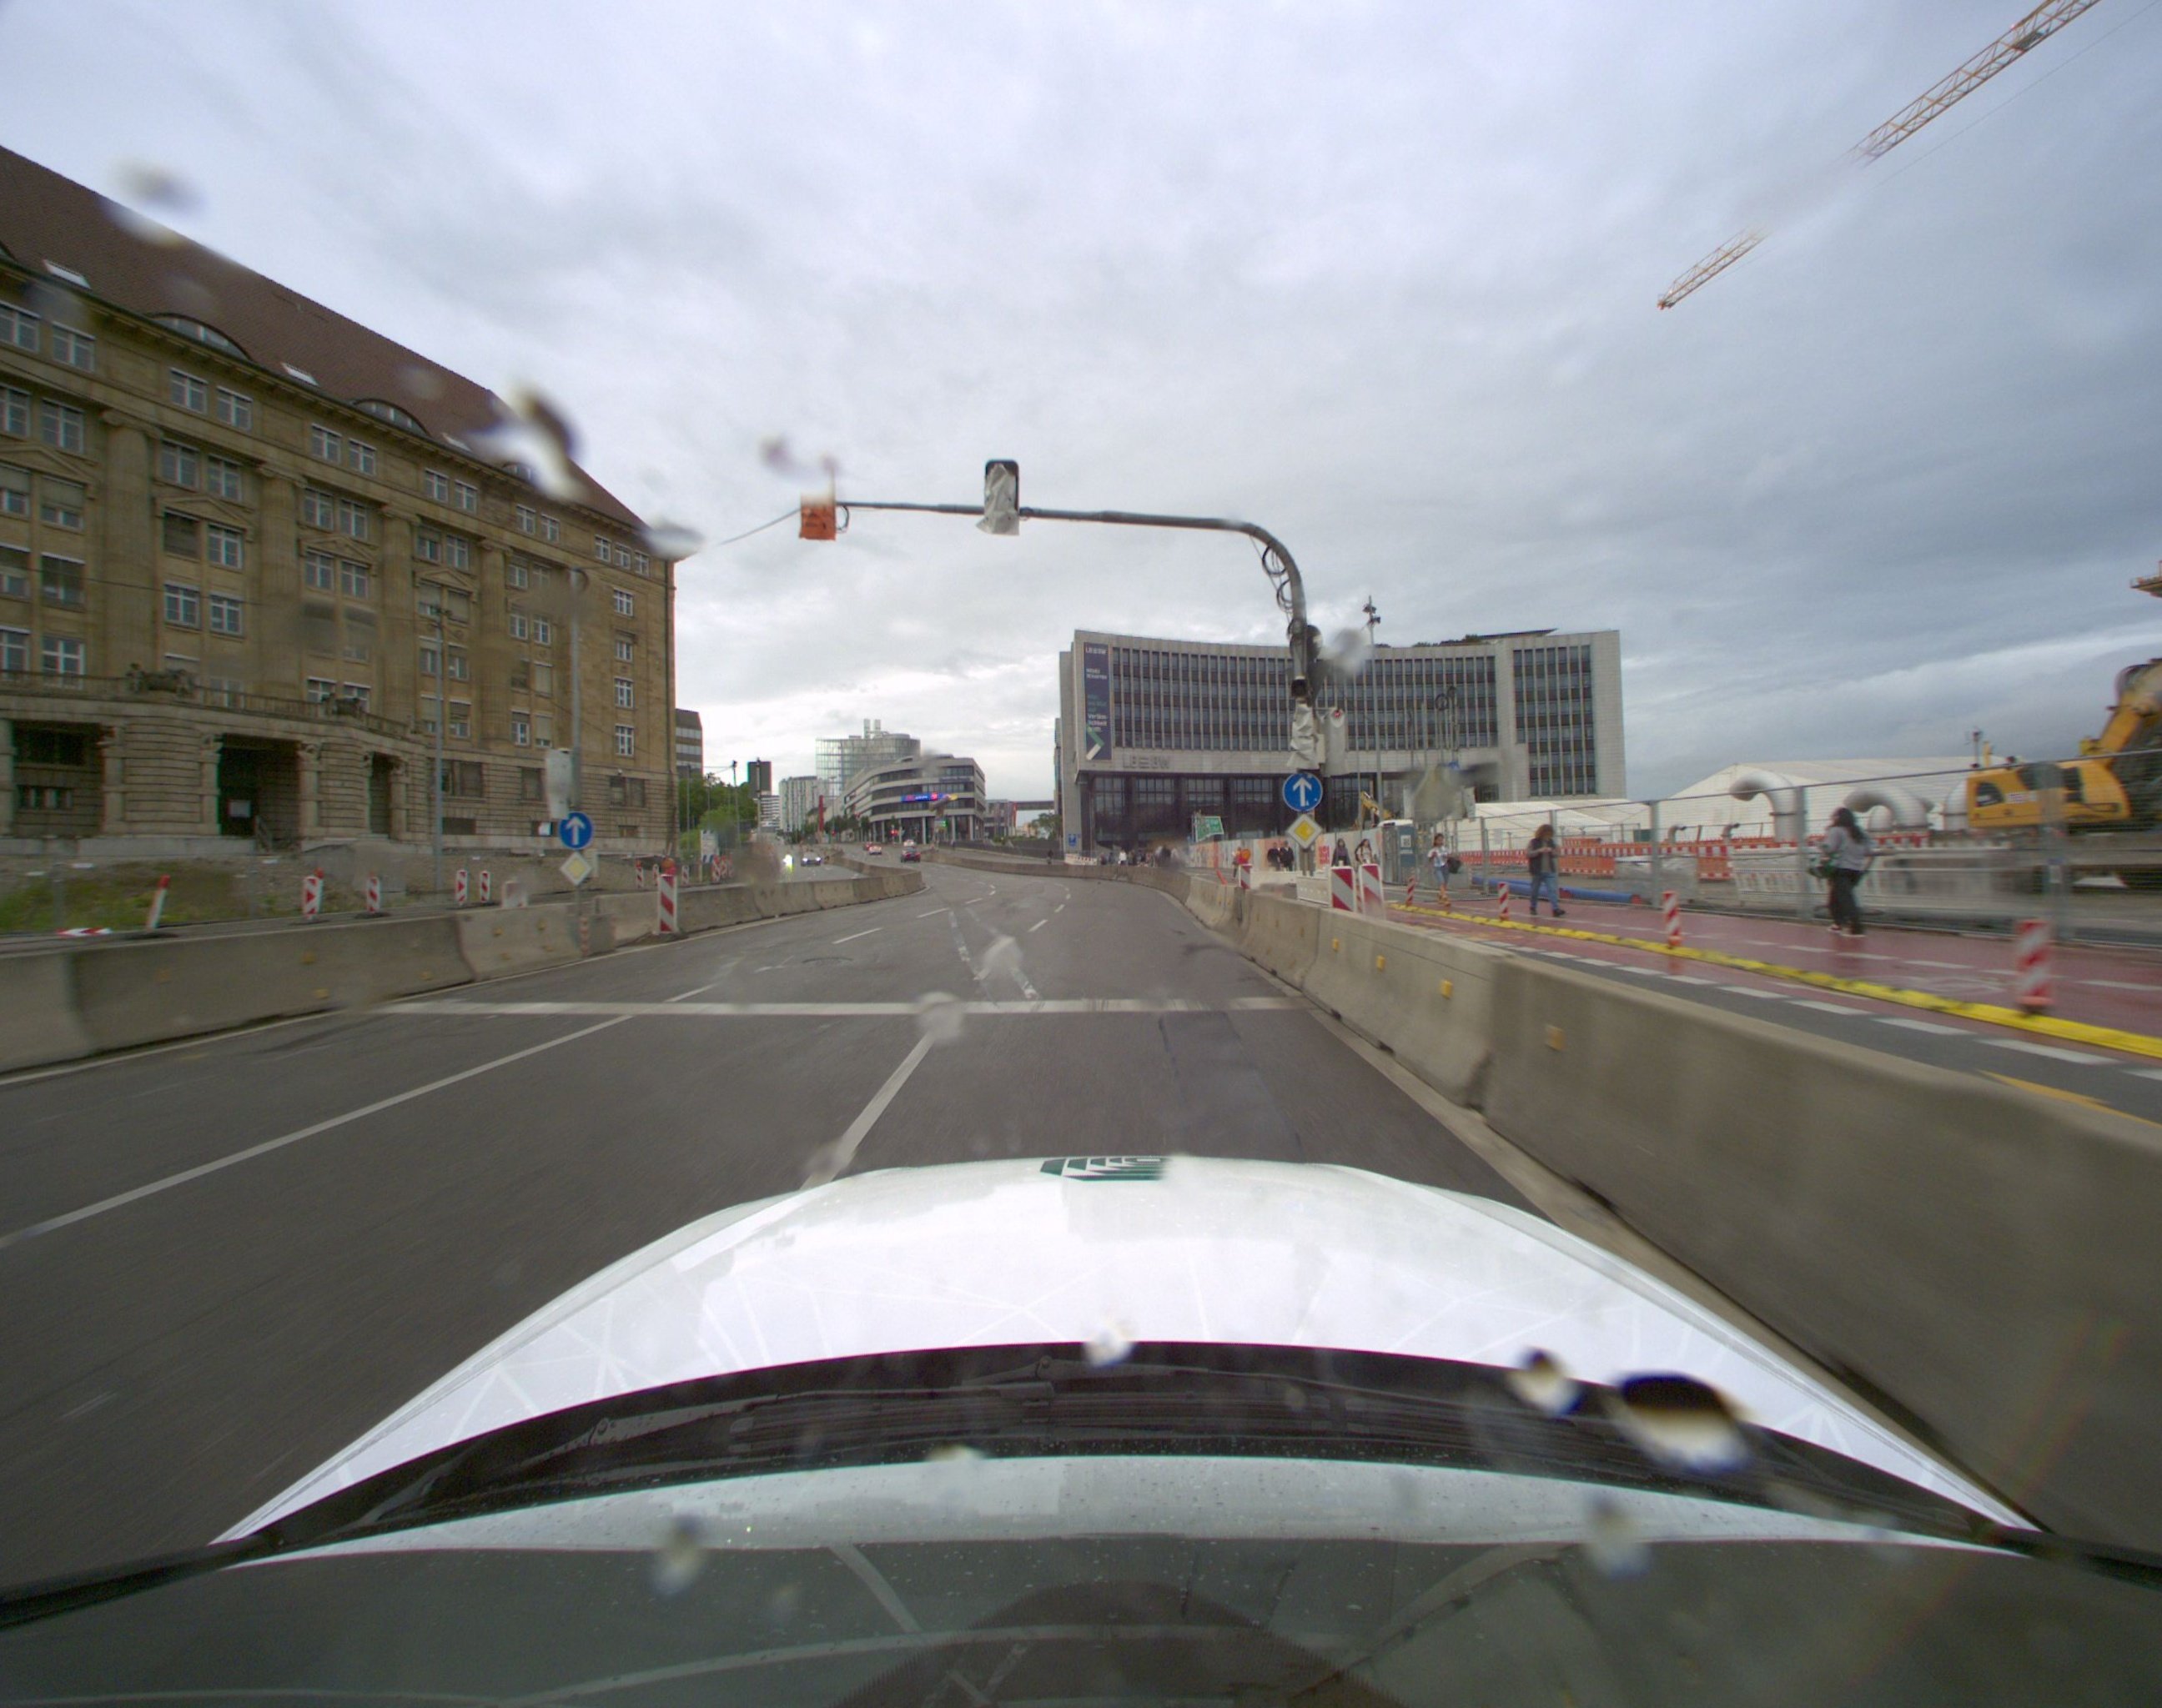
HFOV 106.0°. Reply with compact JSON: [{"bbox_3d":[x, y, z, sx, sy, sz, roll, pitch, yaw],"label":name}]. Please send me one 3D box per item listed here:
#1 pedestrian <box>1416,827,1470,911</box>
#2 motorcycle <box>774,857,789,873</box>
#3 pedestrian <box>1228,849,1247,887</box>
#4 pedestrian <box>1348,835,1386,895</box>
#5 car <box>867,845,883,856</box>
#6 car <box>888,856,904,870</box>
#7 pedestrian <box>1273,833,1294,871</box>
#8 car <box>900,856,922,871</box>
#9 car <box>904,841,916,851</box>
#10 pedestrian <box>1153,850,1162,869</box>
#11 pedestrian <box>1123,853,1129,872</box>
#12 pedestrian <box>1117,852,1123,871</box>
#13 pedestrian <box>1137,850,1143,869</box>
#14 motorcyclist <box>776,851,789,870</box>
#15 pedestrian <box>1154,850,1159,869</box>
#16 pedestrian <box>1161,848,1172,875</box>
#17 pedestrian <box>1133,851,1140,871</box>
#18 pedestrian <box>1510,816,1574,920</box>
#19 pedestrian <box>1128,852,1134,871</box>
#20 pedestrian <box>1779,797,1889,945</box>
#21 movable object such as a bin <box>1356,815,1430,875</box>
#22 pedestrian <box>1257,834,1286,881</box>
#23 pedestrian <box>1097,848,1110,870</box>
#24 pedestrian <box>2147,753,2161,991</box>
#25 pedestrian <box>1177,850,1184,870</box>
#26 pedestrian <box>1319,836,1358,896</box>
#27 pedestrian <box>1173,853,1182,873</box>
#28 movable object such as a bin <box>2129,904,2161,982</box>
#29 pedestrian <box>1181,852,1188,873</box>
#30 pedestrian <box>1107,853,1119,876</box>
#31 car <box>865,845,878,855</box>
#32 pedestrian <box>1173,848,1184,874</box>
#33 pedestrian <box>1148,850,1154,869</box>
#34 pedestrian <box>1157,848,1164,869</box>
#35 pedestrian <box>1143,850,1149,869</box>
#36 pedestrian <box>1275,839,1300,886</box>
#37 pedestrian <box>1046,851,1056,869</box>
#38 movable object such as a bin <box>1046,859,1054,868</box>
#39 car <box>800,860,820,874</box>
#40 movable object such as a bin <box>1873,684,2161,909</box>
[{"bbox_3d":[8.309,0.342,18.739,0.777,1.862,0.948,-1,0,-3],"label":"pedestrian"},{"bbox_3d":[-22.510,0.837,61.313,0.871,1.148,2.143,-1,0,-16],"label":"motorcycle"},{"bbox_3d":[7.649,0.672,39.875,0.730,1.854,0.831,-1,-1,-1],"label":"pedestrian"},{"bbox_3d":[9.111,0.355,25.964,0.777,1.862,1.057,-1,0,-3],"label":"pedestrian"},{"bbox_3d":[-31.673,-0.545,124.951,1.749,1.506,3.723,-1,0,-24],"label":"car"},{"bbox_3d":[-25.244,1.195,111.265,1.744,1.875,3.754,-1,0,-18],"label":"car"},{"bbox_3d":[10.314,-0.096,41.575,0.777,1.862,0.811,-2,0,-3],"label":"pedestrian"},{"bbox_3d":[-19.165,1.110,91.637,1.681,1.508,3.716,0,-3,-23],"label":"car"},{"bbox_3d":[-30.848,-1.390,146.949,1.996,1.804,4.247,-1,0,-13],"label":"car"},{"bbox_3d":[6.931,0.494,73.437,0.515,1.705,0.568,-1,0,-36],"label":"pedestrian"},{"bbox_3d":[3.984,0.732,72.637,0.447,1.705,0.646,-1,0,-4],"label":"pedestrian"},{"bbox_3d":[3.512,0.672,72.609,0.447,1.705,0.646,-1,0,-4],"label":"pedestrian"},{"bbox_3d":[5.462,0.496,74.969,0.445,1.705,0.648,-1,0,9],"label":"pedestrian"},{"bbox_3d":[-22.532,0.486,61.482,0.799,1.451,0.821,-1,0,-16],"label":"motorcyclist"},{"bbox_3d":[6.924,0.486,74.654,0.445,1.705,0.648,-1,0,9],"label":"pedestrian"},{"bbox_3d":[6.617,0.586,62.944,0.780,2.013,0.865,-1,0,7],"label":"pedestrian"},{"bbox_3d":[4.955,0.617,72.764,0.447,1.705,0.646,-1,0,-4],"label":"pedestrian"},{"bbox_3d":[8.539,0.247,15.116,0.688,1.862,0.811,-1,0,-3],"label":"pedestrian"},{"bbox_3d":[4.478,0.658,72.708,0.452,1.705,0.646,-1,0,-4],"label":"pedestrian"},{"bbox_3d":[9.847,0.211,10.675,0.785,1.862,0.682,-1,0,-3],"label":"pedestrian"},{"bbox_3d":[21.718,-0.589,56.815,3.099,4.030,3.669,-1,-1,-22],"label":"movable object such as a bin"},{"bbox_3d":[7.598,0.136,32.499,0.817,1.827,1.110,-2,-1,-1],"label":"pedestrian"},{"bbox_3d":[1.645,0.380,60.300,0.751,1.642,0.820,-1,0,-11],"label":"pedestrian"},{"bbox_3d":[8.762,0.136,6.092,0.663,1.862,0.682,-1,0,-3],"label":"pedestrian"},{"bbox_3d":[8.507,0.499,69.548,0.498,1.705,0.732,-1,0,-1],"label":"pedestrian"},{"bbox_3d":[8.084,0.368,25.576,0.868,1.862,0.948,-1,0,-3],"label":"pedestrian"},{"bbox_3d":[8.017,0.736,67.624,0.623,1.705,0.647,-1,0,0],"label":"pedestrian"},{"bbox_3d":[9.110,0.739,6.642,0.432,0.624,0.534,-1,0,-3],"label":"movable object such as a bin"},{"bbox_3d":[8.584,0.726,67.555,0.447,1.705,0.647,-1,0,0],"label":"pedestrian"},{"bbox_3d":[2.363,0.768,60.462,0.659,1.642,0.820,-1,0,-11],"label":"pedestrian"},{"bbox_3d":[-36.639,-0.709,142.625,1.996,1.804,4.247,-1,0,-13],"label":"car"},{"bbox_3d":[7.489,0.527,62.771,0.780,2.013,0.865,-1,0,7],"label":"pedestrian"},{"bbox_3d":[6.464,0.497,74.793,0.445,1.705,0.648,-1,0,9],"label":"pedestrian"},{"bbox_3d":[7.049,0.409,72.059,0.527,1.818,0.536,-1,0,1],"label":"pedestrian"},{"bbox_3d":[5.979,0.492,74.909,0.445,1.705,0.648,-1,0,9],"label":"pedestrian"},{"bbox_3d":[8.462,0.336,33.371,0.777,1.862,0.811,-1,0,-3],"label":"pedestrian"},{"bbox_3d":[-3.122,0.617,85.192,0.759,1.790,1.050,-1,-1,-20],"label":"pedestrian"},{"bbox_3d":[-3.206,0.991,84.645,0.600,0.934,0.737,0,-1,-20],"label":"movable object such as a bin"},{"bbox_3d":[-28.817,1.354,86.517,1.609,1.352,3.723,0,-3,-24],"label":"car"},{"bbox_3d":[18.190,-0.954,14.660,3.900,3.492,4.373,-2,0,15],"label":"movable object such as a bin"}]
